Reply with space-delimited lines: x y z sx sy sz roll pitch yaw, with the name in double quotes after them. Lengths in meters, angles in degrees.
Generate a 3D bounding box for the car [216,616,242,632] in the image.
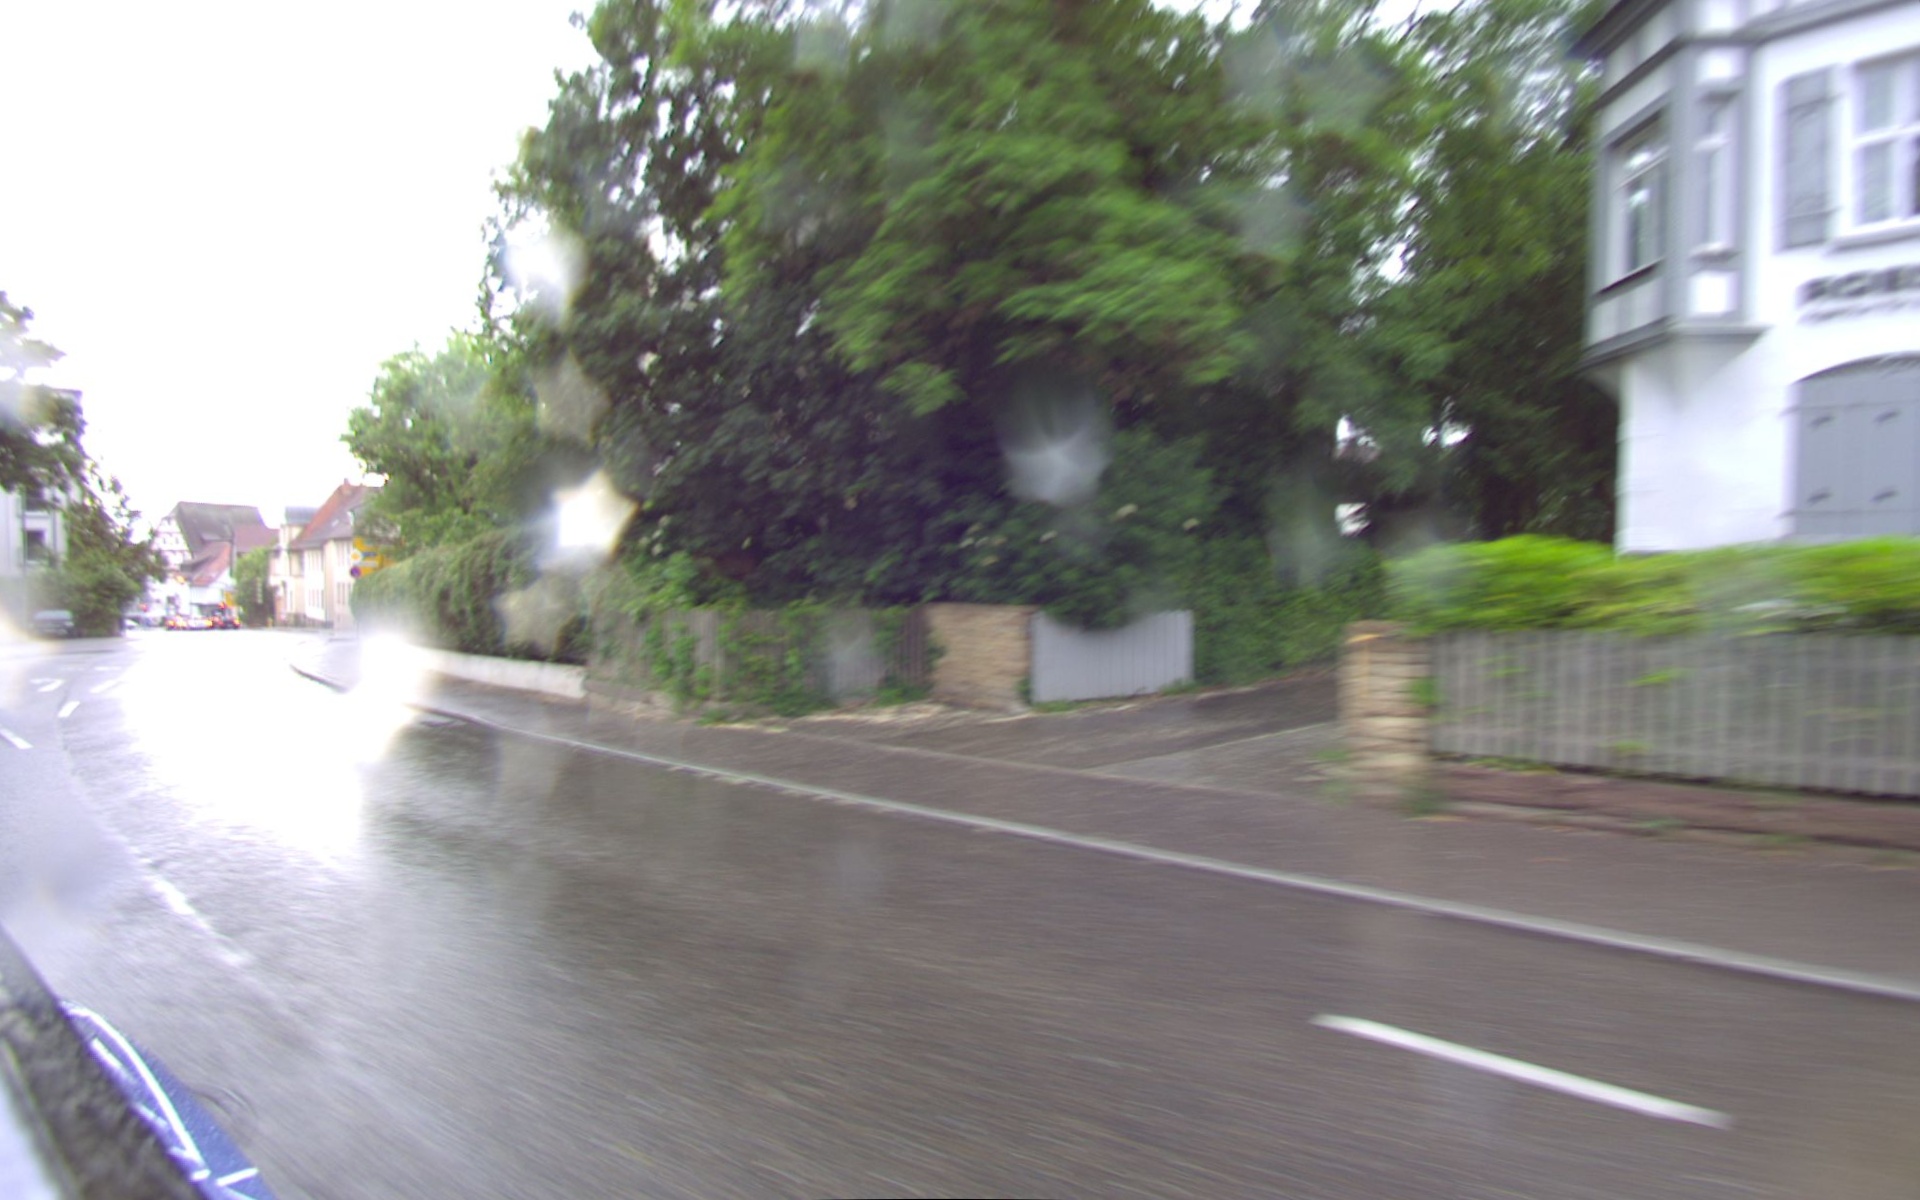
-76.531 2.514 105.900 1.724 1.583 3.818 -5 2 -42 "car"

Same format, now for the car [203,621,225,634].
-88.016 3.250 119.357 1.716 1.364 4.065 -1 -1 -42 "car"

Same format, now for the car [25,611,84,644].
-47.446 1.421 53.106 1.757 1.582 4.738 -3 1 -36 "car"

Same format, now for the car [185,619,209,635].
-76.412 2.727 101.329 1.776 1.450 4.697 -1 -1 -40 "car"
